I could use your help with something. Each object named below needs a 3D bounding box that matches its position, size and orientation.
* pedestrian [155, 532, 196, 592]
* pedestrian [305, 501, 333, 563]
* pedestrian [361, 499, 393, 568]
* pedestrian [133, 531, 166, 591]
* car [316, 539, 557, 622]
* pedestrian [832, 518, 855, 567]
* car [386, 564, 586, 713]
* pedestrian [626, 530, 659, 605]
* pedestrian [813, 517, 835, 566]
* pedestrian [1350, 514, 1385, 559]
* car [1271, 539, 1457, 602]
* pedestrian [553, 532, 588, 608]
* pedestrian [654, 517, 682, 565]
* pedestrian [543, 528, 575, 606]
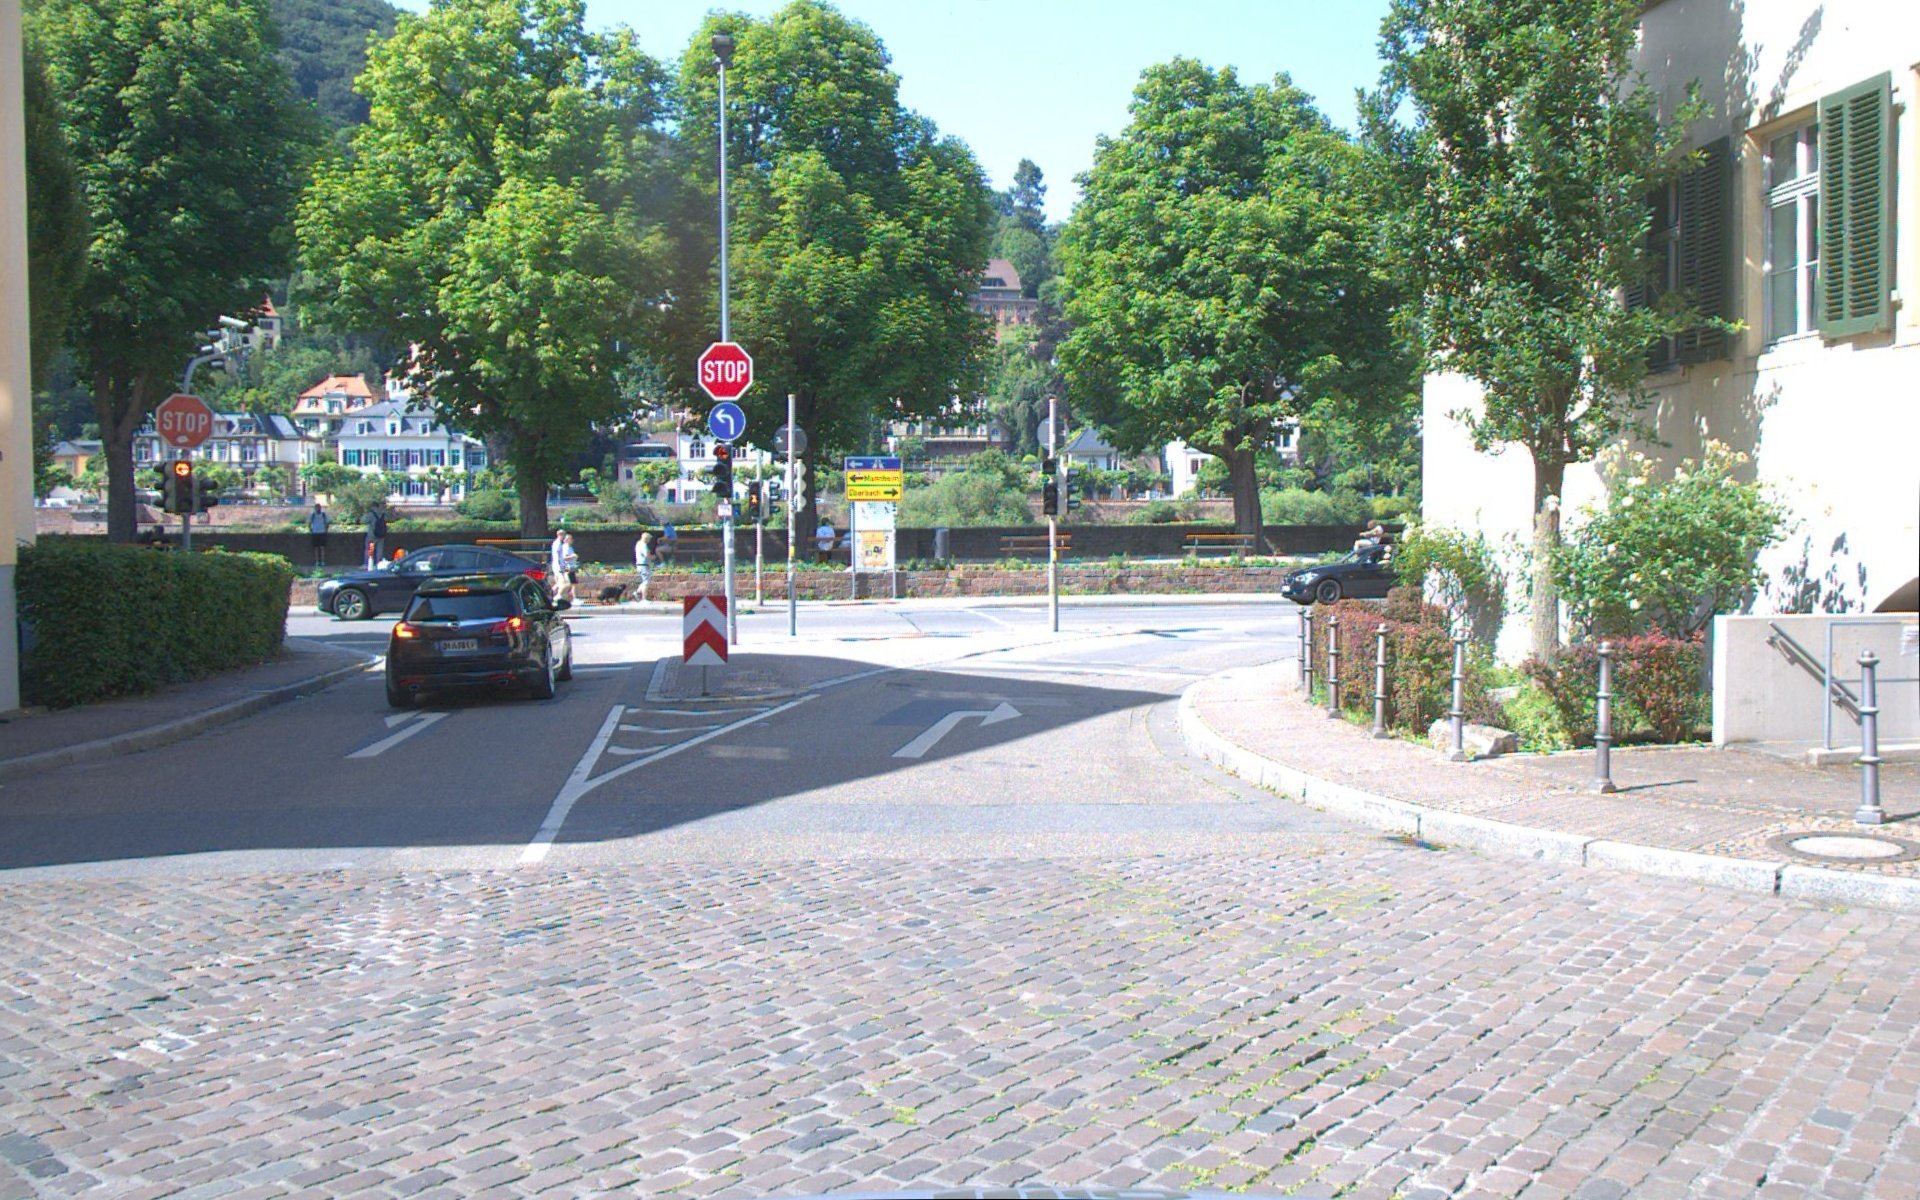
[{"bbox_3d":[-20.129,-0.989,42.446,0.458,1.505,1.384,-1,2,-4],"label":"pedestrian"},{"bbox_3d":[-18.513,-1.950,47.757,0.697,1.762,0.753,0,1,-19],"label":"pedestrian"},{"bbox_3d":[-16.077,-1.822,45.628,0.753,1.890,0.750,-1,1,-26],"label":"pedestrian"},{"bbox_3d":[-20.641,-0.995,42.143,0.458,1.519,0.804,-1,2,-4],"label":"pedestrian"},{"bbox_3d":[-11.238,-0.432,35.827,4.676,1.544,1.902,-3,1,-10],"label":"car"},{"bbox_3d":[-3.177,-1.563,45.163,0.542,1.249,0.984,1,-1,-8],"label":"pedestrian"},{"bbox_3d":[-5.689,0.365,20.369,1.682,1.487,4.716,-3,2,-8],"label":"car"},{"bbox_3d":[-7.833,-0.803,40.816,0.674,1.800,0.717,-2,1,-4],"label":"pedestrian"},{"bbox_3d":[-3.702,-1.584,44.901,0.542,1.302,0.703,1,-1,-7],"label":"pedestrian"},{"bbox_3d":[11.674,-1.810,47.390,0.782,1.232,0.714,1,-1,-5],"label":"pedestrian"},{"bbox_3d":[9.625,-0.727,39.557,3.912,1.443,1.872,-1,2,-8],"label":"car"},{"bbox_3d":[-9.647,-0.744,40.941,0.708,1.833,0.633,-2,1,-6],"label":"pedestrian"},{"bbox_3d":[-7.784,-1.567,44.095,0.631,1.249,0.412,-2,1,-19],"label":"pedestrian"},{"bbox_3d":[-9.580,-0.790,39.539,0.567,1.833,0.704,-2,1,-5],"label":"pedestrian"}]
